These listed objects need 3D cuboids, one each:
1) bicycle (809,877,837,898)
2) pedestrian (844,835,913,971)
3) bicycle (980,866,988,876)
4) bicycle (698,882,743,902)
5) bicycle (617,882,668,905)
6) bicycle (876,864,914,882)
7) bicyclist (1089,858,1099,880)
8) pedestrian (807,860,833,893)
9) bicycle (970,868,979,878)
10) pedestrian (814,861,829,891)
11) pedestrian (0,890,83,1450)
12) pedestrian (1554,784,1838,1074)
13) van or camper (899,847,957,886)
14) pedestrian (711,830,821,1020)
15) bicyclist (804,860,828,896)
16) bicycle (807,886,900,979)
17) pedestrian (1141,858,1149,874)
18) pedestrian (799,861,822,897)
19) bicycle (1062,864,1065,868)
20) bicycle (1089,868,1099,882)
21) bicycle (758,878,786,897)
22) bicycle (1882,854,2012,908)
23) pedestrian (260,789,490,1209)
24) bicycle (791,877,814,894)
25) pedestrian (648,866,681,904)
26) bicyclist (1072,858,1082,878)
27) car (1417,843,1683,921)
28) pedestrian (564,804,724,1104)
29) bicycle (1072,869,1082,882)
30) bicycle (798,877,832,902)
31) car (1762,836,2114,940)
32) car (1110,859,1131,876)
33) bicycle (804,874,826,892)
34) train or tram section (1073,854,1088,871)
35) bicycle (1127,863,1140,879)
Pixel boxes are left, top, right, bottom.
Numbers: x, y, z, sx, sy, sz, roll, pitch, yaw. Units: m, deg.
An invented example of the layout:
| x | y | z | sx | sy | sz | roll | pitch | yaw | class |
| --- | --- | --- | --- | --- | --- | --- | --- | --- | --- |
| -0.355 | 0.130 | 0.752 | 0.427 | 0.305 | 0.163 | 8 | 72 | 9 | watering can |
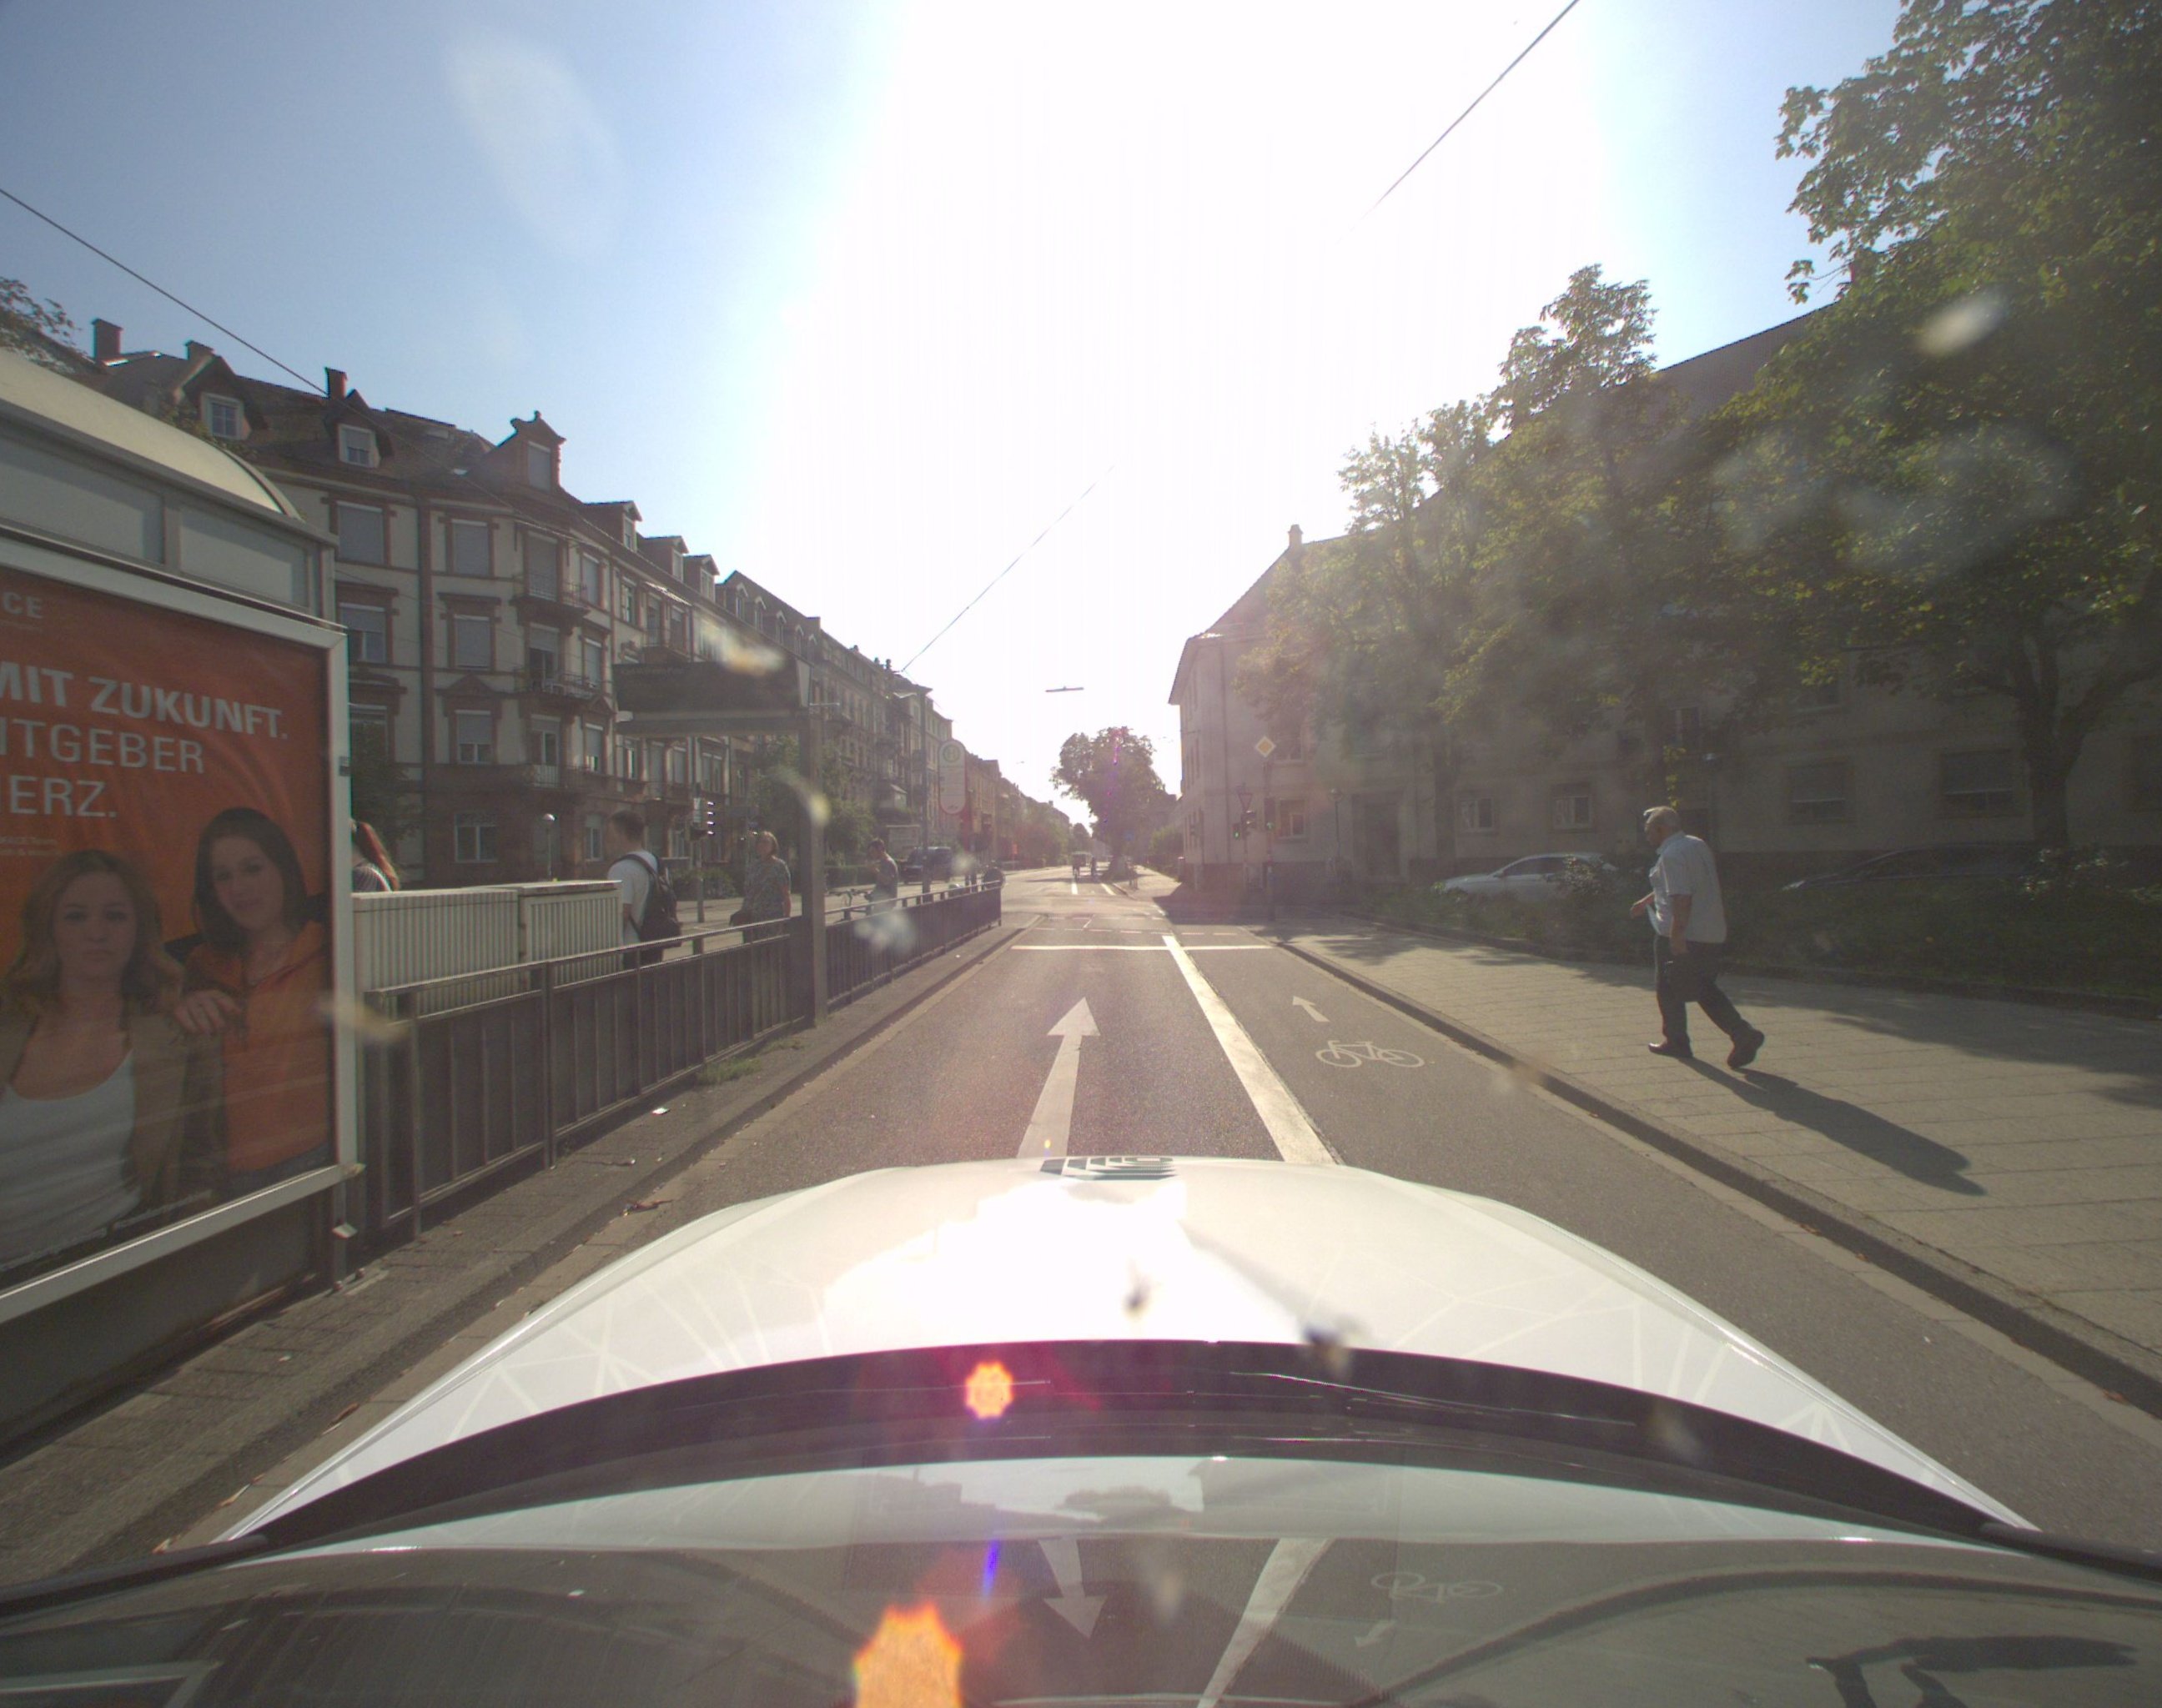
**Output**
| x | y | z | sx | sy | sz | roll | pitch | yaw | class |
| --- | --- | --- | --- | --- | --- | --- | --- | --- | --- |
| -13.325 | 1.733 | 42.092 | 0.616 | 1.007 | 2.152 | -2 | 0 | 3 | bicycle |
| -2.747 | 0.650 | 11.128 | 0.687 | 1.766 | 0.797 | -1 | -1 | 1 | pedestrian |
| -11.141 | 1.976 | 93.416 | 0.542 | 1.058 | 1.842 | 2 | 0 | 5 | bicycle |
| -16.635 | 1.739 | 37.599 | 0.521 | 0.860 | 1.839 | -2 | 0 | 41 | bicycle |
| -18.777 | 1.676 | 34.874 | 0.521 | 0.860 | 1.839 | -2 | 0 | 41 | bicycle |
| -15.203 | 1.530 | 66.618 | 2.869 | 1.455 | 0.996 | -1 | -1 | -4 | bicycle |
| 0.865 | 0.983 | 54.154 | 0.652 | 1.474 | 0.909 | 0 | -1 | 2 | bicyclist |
| -14.251 | 1.198 | 44.558 | 0.900 | 1.766 | 1.188 | -2 | -1 | 6 | pedestrian |
| -11.439 | 2.046 | 87.483 | 0.604 | 1.058 | 1.842 | 2 | 0 | 5 | bicycle |
| -14.786 | 1.245 | 46.408 | 0.636 | 1.678 | 0.632 | -2 | -1 | -9 | pedestrian |
| -3.037 | 0.793 | 1.880 | 0.683 | 1.378 | 0.623 | -2 | -1 | 3 | pedestrian |
| 4.115 | 0.470 | 5.562 | 1.073 | 1.724 | 0.970 | -5 | -1 | 2 | pedestrian |
| -11.086 | 0.916 | 59.617 | 2.038 | 2.644 | 6.106 | -2 | -1 | 10 | van or camper |
| -3.054 | 0.664 | 7.954 | 0.765 | 1.760 | 0.681 | -1 | -1 | 1 | pedestrian |
| -12.407 | 1.103 | 38.088 | 0.670 | 1.614 | 1.046 | -2 | -1 | 5 | bicyclist |
| -3.095 | 1.039 | 11.232 | 0.469 | 1.104 | 1.742 | -2 | -1 | 11 | bicycle |
| 7.444 | 1.381 | 94.428 | 0.748 | 1.749 | 0.880 | -2 | -1 | 9 | pedestrian |
| -13.875 | 1.265 | 41.776 | 0.725 | 1.806 | 1.093 | -1 | -1 | 1 | pedestrian |
| -4.568 | 3.162 | 216.712 | 0.558 | 1.221 | 2.116 | -2 | -1 | 5 | bicycle |
| 0.856 | 1.380 | 54.163 | 0.652 | 0.909 | 1.776 | 0 | -1 | 2 | bicycle |
| -15.659 | 1.678 | 41.276 | 0.523 | 0.860 | 1.831 | -1 | 0 | 6 | bicycle |
| 18.410 | 0.539 | 17.362 | 0.610 | 1.058 | 1.822 | -1 | 1 | -29 | bicycle |
| -3.185 | 0.614 | 3.715 | 0.550 | 1.760 | 0.533 | -1 | -1 | 1 | pedestrian |
| -15.087 | 1.709 | 44.167 | 0.523 | 0.860 | 1.705 | -1 | 0 | 6 | bicycle |
| -17.724 | 1.328 | 34.678 | 0.831 | 1.571 | 0.952 | -2 | -1 | 36 | pedestrian |
| -0.280 | 0.944 | 55.468 | 0.624 | 1.401 | 0.930 | 0 | -1 | 2 | bicyclist |
| 10.506 | 0.631 | 18.523 | 4.891 | 1.469 | 1.888 | -3 | 1 | 43 | car |
| -2.817 | 0.611 | 5.316 | 0.601 | 1.806 | 0.730 | -1 | -1 | 1 | pedestrian |
| -0.288 | 1.455 | 55.450 | 0.624 | 0.909 | 1.526 | 0 | -1 | 2 | bicycle |
| -12.393 | 1.647 | 38.011 | 0.681 | 1.103 | 2.072 | -2 | 0 | 5 | bicycle |
| 14.372 | 0.511 | 13.898 | 1.758 | 1.451 | 3.850 | -3 | 1 | -32 | car |
| 4.020 | 1.328 | 81.881 | 1.636 | 1.540 | 3.851 | -4 | -1 | 8 | car |
| -14.971 | 1.627 | 45.860 | 0.523 | 0.927 | 1.705 | -1 | 0 | 6 | bicycle |
| -0.050 | 1.912 | 180.835 | 2.723 | 3.506 | 15.441 | -1 | -1 | 2 | train or tram section |
| 3.722 | 1.198 | 58.122 | 0.769 | 1.104 | 2.333 | -2 | 0 | 1 | bicycle |
